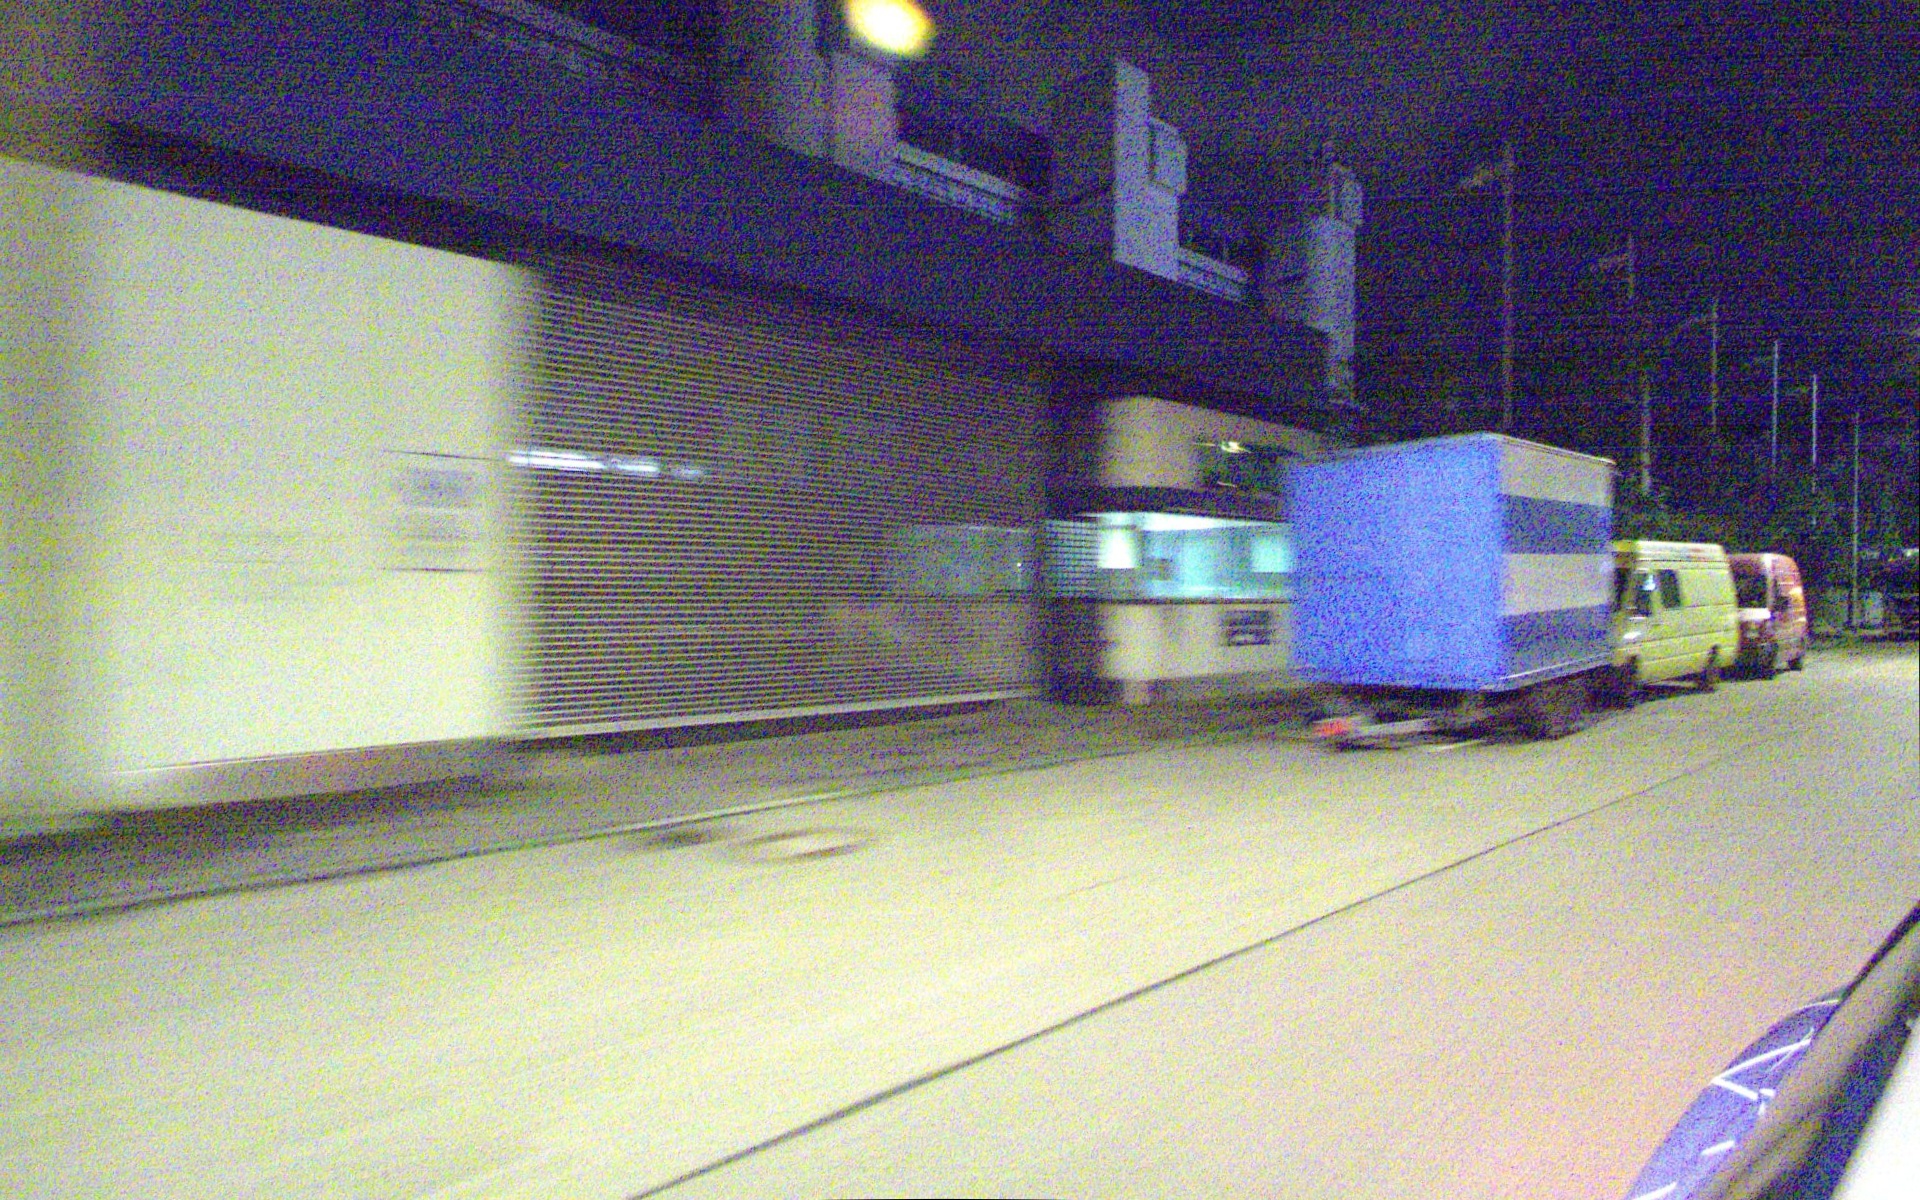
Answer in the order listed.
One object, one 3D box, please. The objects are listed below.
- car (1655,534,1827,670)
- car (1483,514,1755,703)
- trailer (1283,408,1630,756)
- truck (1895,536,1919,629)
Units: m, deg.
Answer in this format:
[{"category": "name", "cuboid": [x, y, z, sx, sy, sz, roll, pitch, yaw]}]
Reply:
[{"category": "car", "cuboid": [17.047, 0.032, 21.953, 5.923, 2.580, 1.996, 0, 0, -43]}, {"category": "car", "cuboid": [11.051, 0.110, 16.701, 6.527, 2.580, 1.944, 0, 0, -40]}, {"category": "trailer", "cuboid": [6.066, -0.187, 12.157, 4.289, 3.368, 2.400, 0, 0, -43]}, {"category": "truck", "cuboid": [45.206, -0.720, 45.364, 12.419, 3.886, 2.517, 0, 0, -36]}]
